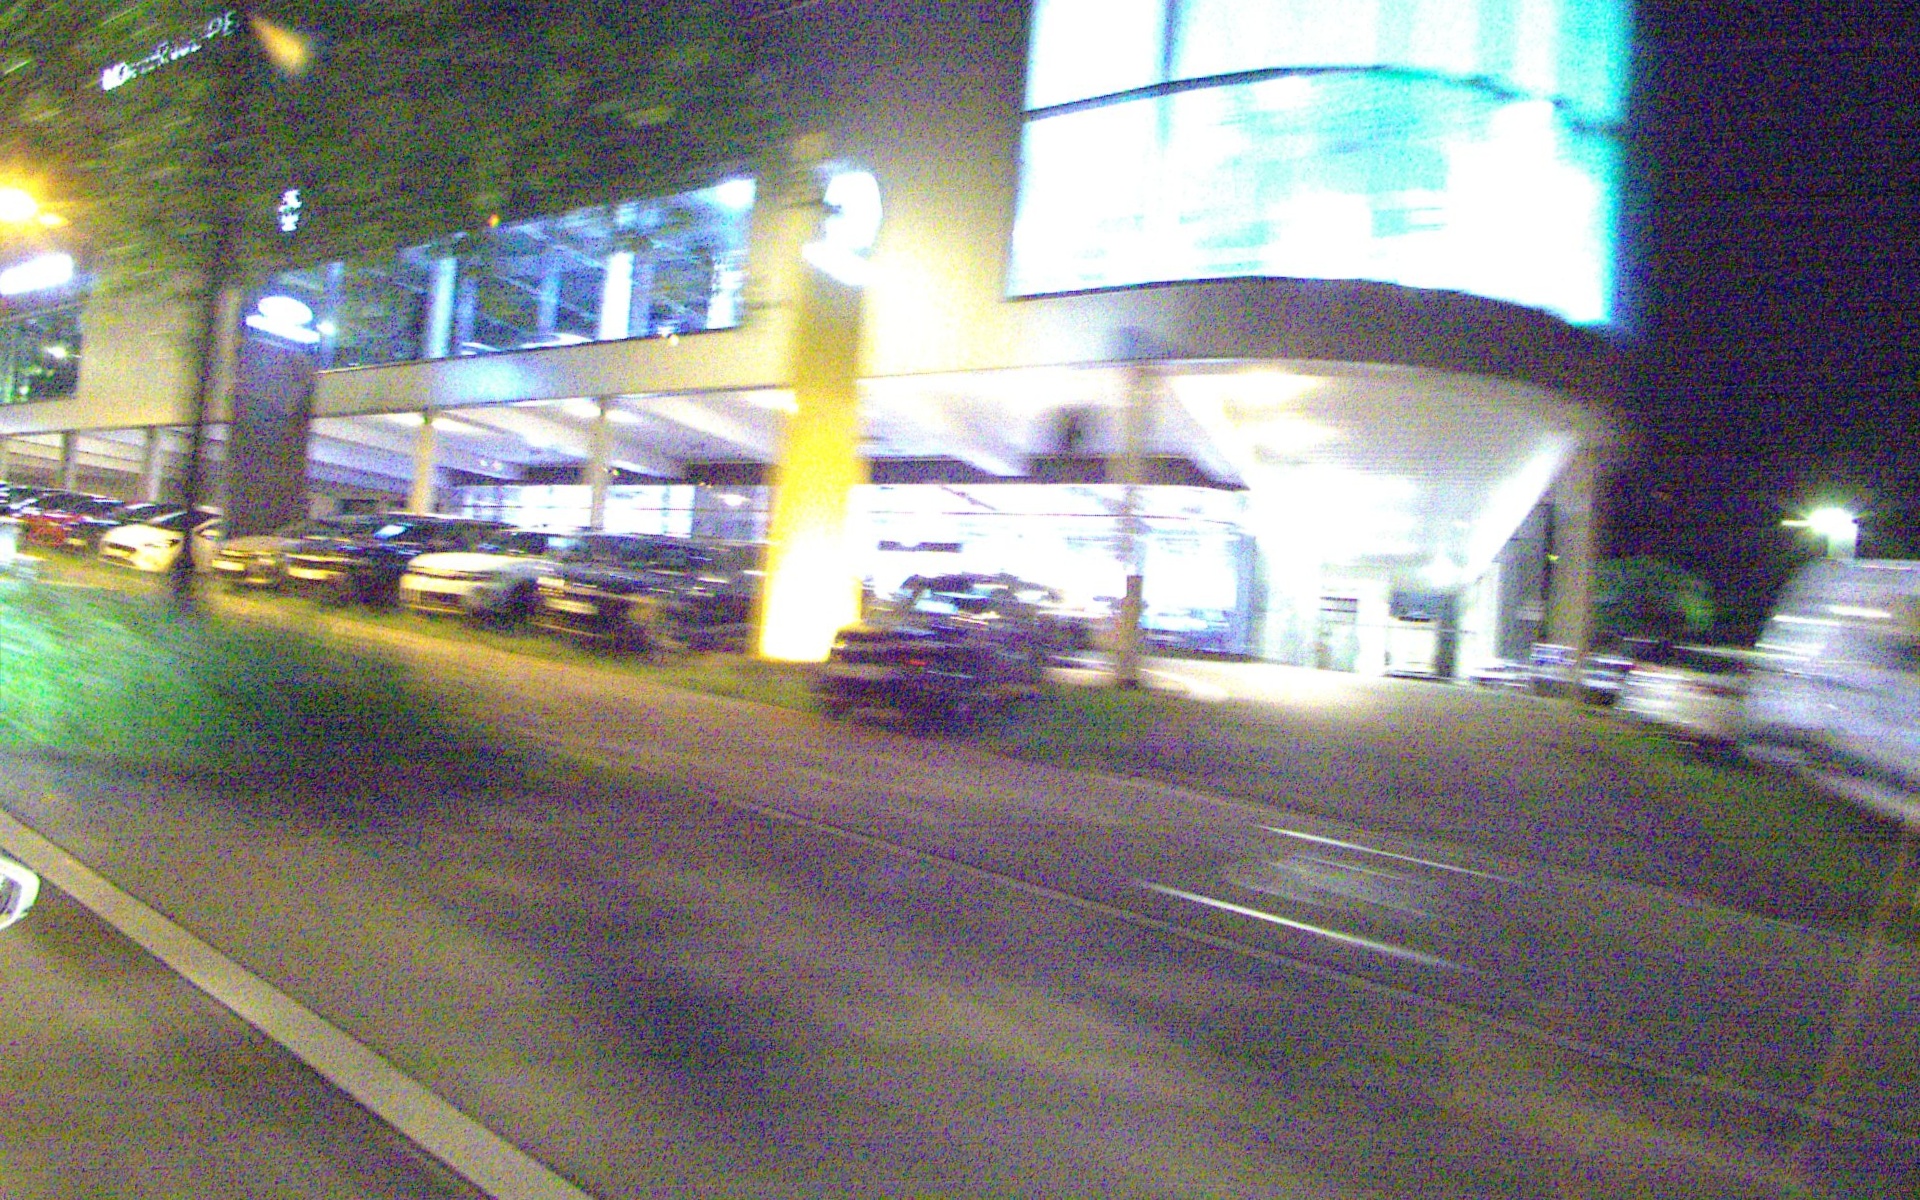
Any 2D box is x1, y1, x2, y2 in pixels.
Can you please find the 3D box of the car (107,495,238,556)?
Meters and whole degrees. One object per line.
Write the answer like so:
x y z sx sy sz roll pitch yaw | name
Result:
-26.174 -2.440 33.504 3.022 1.504 1.319 8 -1 -10 | car

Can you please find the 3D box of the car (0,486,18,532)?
-32.161 -3.154 31.066 1.873 1.441 4.003 8 -1 13 | car

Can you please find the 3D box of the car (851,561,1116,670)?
0.340 0.251 17.784 4.367 1.531 1.716 4 2 -8 | car

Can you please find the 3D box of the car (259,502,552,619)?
-9.153 -0.631 17.027 1.820 1.590 4.087 7 3 20 | car

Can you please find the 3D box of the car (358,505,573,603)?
-13.374 -1.202 27.477 4.743 1.940 1.834 7 -1 -6 | car

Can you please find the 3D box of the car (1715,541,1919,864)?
8.872 0.923 7.928 2.240 2.565 6.027 7 4 14 | car

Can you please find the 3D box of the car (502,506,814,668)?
-4.158 -0.140 14.754 1.963 1.833 4.471 7 1 20 | car

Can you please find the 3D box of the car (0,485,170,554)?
-23.167 -2.089 25.937 1.775 1.399 3.997 7 2 20 | car

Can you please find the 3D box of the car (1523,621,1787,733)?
14.073 1.513 20.605 3.891 1.624 1.780 6 4 8 | car

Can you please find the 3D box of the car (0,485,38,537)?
-29.942 -2.879 29.765 1.648 1.450 3.617 7 -2 7 | car

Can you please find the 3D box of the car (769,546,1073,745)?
-0.212 0.444 11.675 1.924 1.685 4.212 7 2 20 | car

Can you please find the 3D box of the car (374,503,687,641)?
-6.572 -0.440 15.990 1.963 1.710 4.467 7 3 20 | car

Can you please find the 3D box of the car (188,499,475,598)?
-11.733 -0.917 19.168 1.737 1.569 4.466 6 3 21 | car

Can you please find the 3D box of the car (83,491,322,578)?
-16.185 -1.344 21.742 1.685 1.472 3.811 7 2 17 | car

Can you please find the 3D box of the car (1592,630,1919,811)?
10.527 1.481 12.564 3.891 1.735 1.810 6 2 8 | car

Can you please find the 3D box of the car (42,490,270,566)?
-18.344 -1.602 23.174 1.684 1.398 3.775 7 3 17 | car

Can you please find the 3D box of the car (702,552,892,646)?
-3.142 -0.017 19.827 3.440 1.440 1.636 6 0 -6 | car

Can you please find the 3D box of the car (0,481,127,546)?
-25.262 -2.407 27.152 1.791 1.409 4.000 8 1 9 | car

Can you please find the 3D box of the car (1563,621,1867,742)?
13.572 1.419 18.324 3.892 1.598 1.799 7 1 8 | car

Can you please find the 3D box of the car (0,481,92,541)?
-27.536 -2.649 28.586 1.798 1.489 4.000 7 1 11 | car

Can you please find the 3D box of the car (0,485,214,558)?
-20.658 -1.855 24.237 1.791 1.392 4.032 7 3 15 | car

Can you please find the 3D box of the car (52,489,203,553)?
-29.807 -2.788 36.122 3.803 1.818 1.586 5 -1 -10 | car
